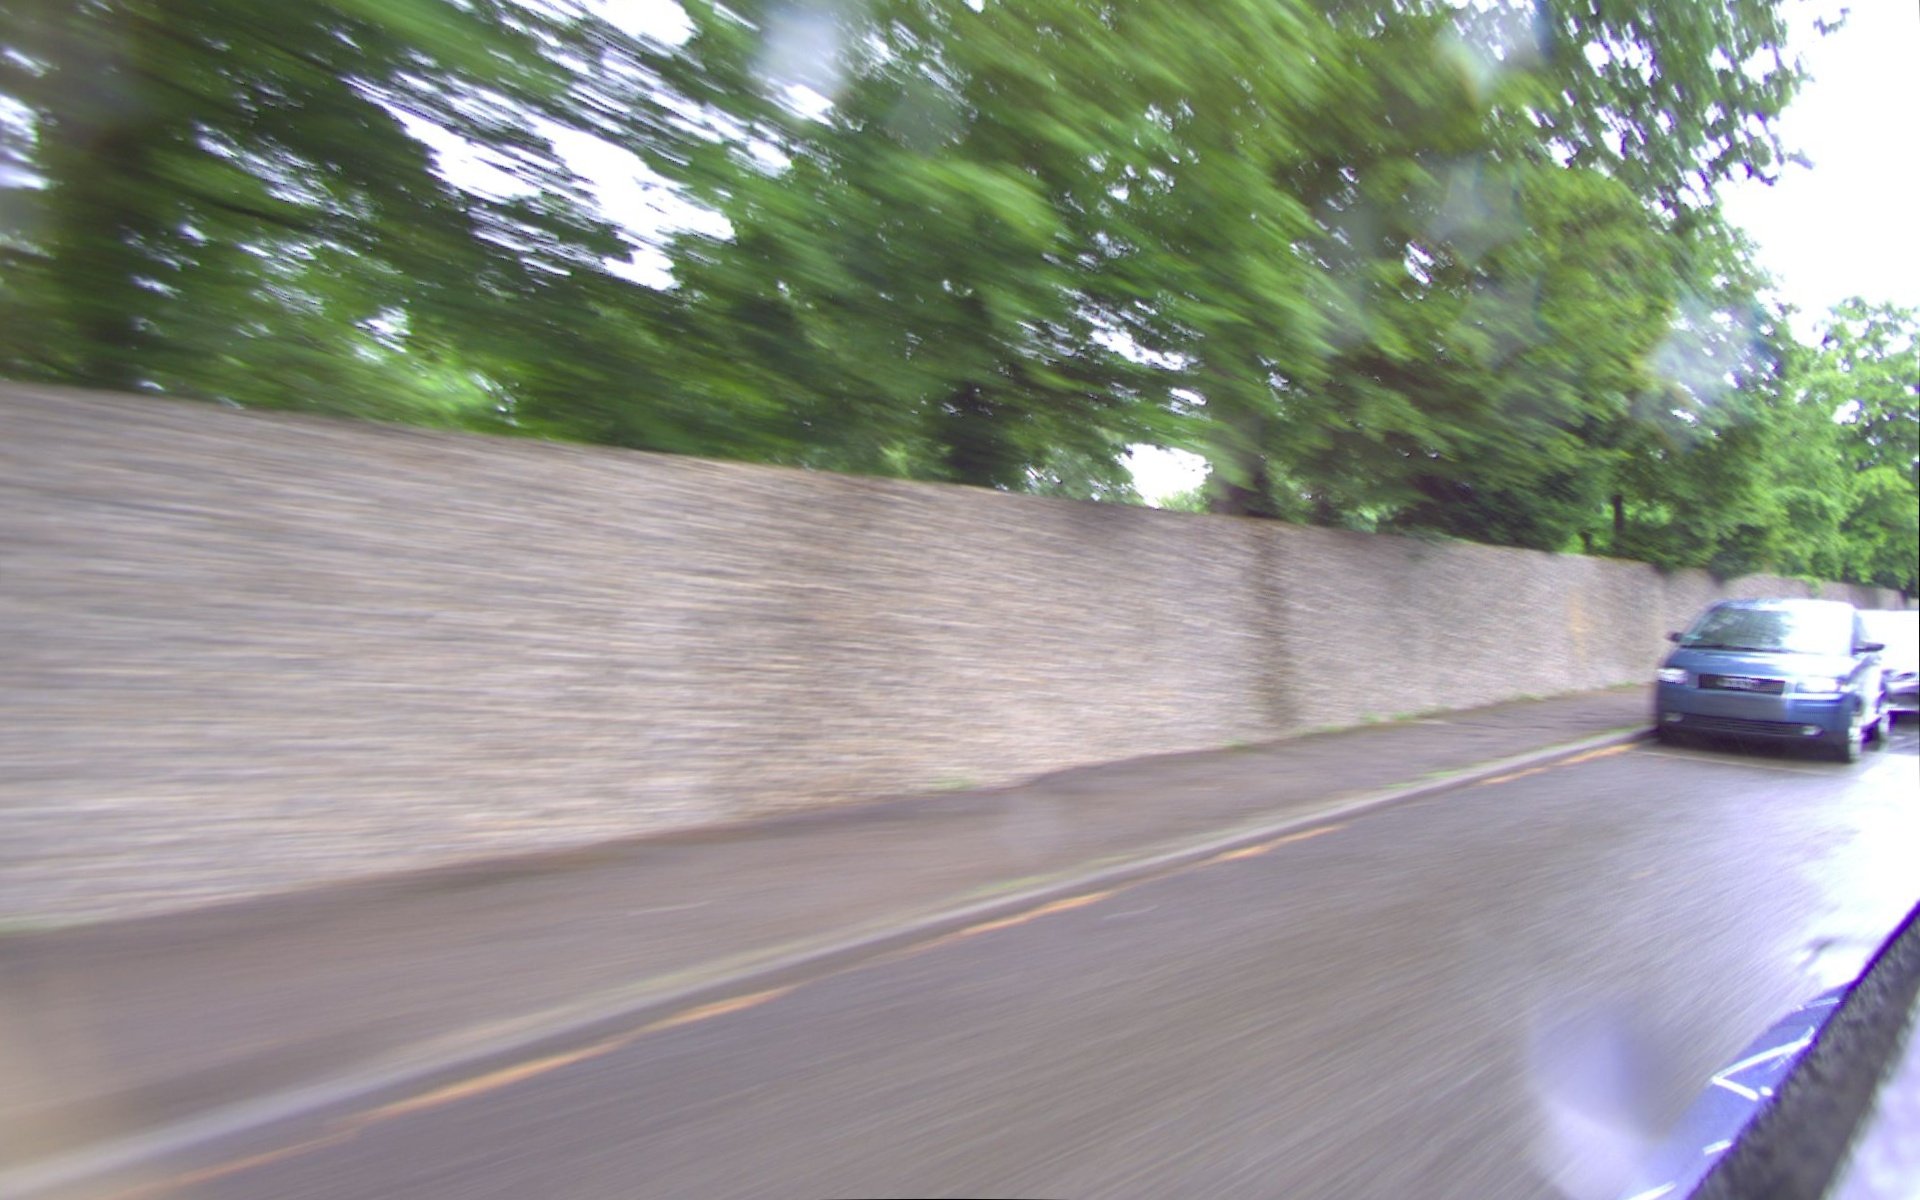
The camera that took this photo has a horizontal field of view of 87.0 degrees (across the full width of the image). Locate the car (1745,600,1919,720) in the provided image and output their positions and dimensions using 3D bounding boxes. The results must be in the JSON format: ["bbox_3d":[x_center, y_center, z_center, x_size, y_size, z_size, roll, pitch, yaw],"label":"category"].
[{"bbox_3d":[13.004,0.763,14.473,4.406,1.437,1.997,1,1,-41],"label":"car"}]

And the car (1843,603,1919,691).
[{"bbox_3d":[17.382,0.805,18.133,4.080,1.437,1.763,1,1,-40],"label":"car"}]

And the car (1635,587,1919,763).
[{"bbox_3d":[8.933,0.675,10.950,3.734,1.552,1.793,1,1,-41],"label":"car"}]

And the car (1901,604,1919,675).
[{"bbox_3d":[21.418,0.833,21.481,4.082,1.437,1.762,1,1,-42],"label":"car"}]
